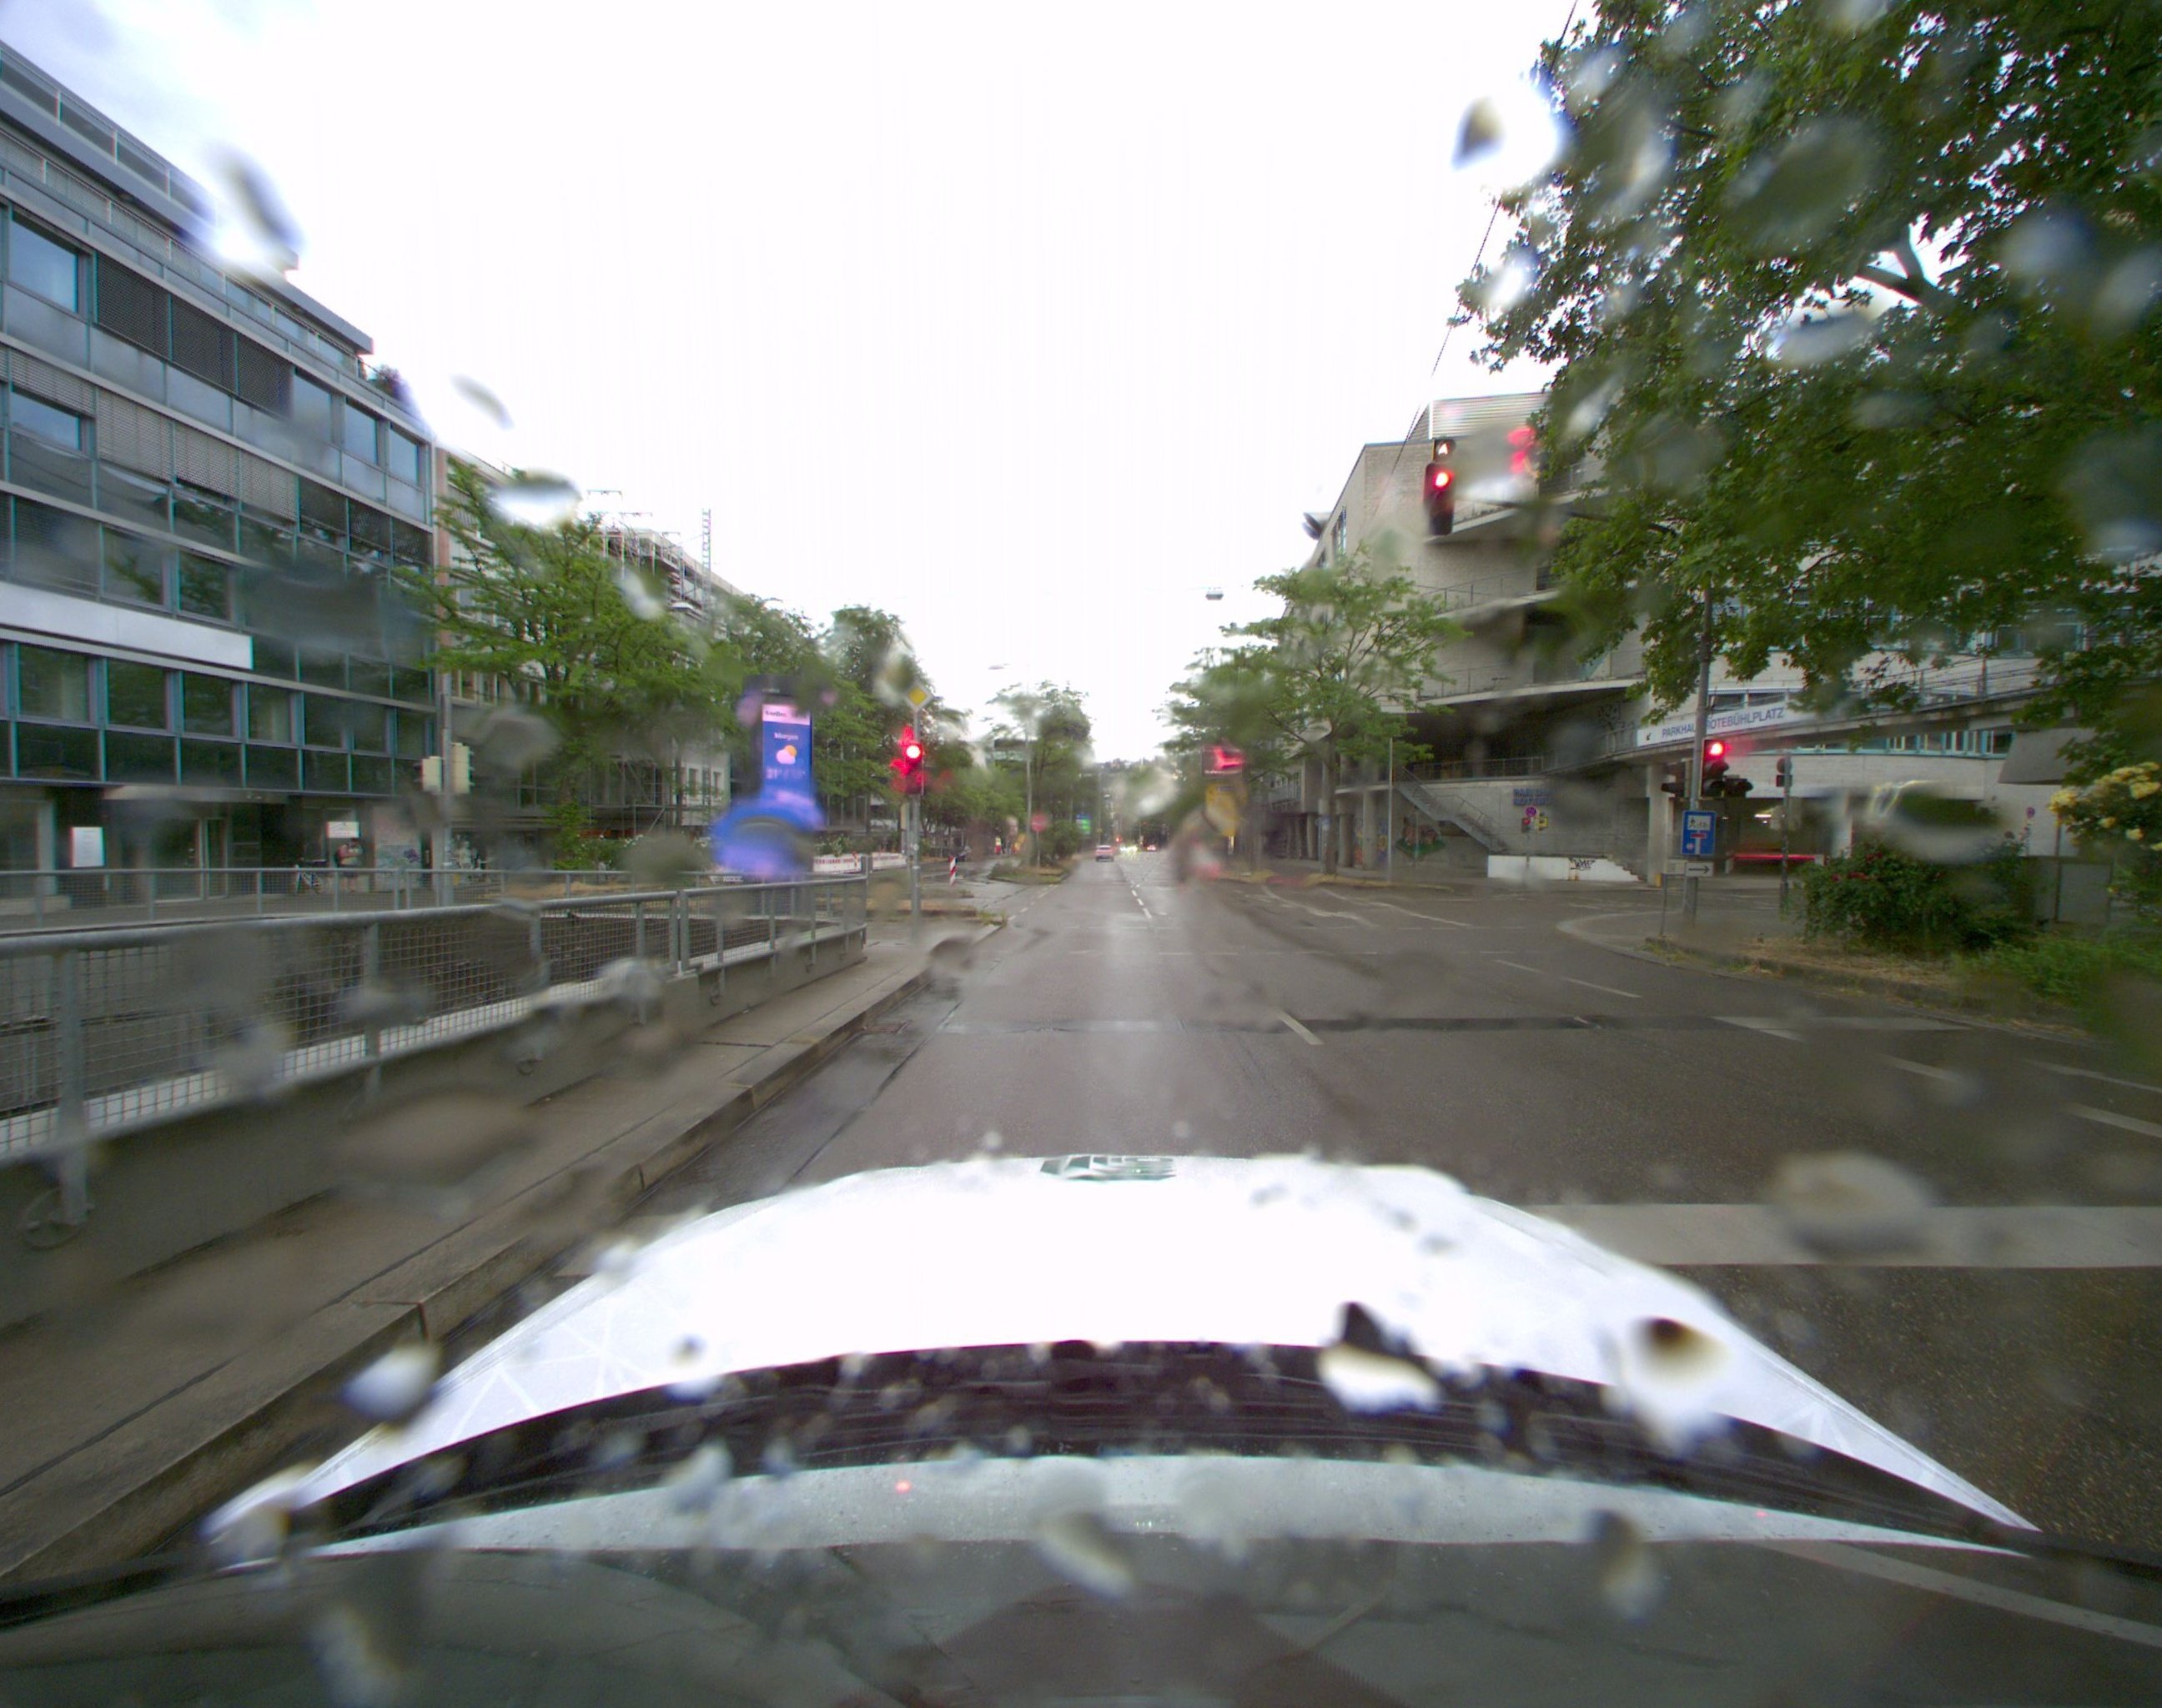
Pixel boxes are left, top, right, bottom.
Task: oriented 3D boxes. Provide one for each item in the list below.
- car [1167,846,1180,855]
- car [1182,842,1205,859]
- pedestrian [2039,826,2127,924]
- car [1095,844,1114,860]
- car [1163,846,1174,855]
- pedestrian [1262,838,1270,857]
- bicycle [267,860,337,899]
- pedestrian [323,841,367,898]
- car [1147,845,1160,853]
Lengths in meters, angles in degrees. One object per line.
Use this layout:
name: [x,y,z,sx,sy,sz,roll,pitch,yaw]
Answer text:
car: [17.630,-0.655,155.125,1.986,1.723,4.001,0,-1,1]
car: [11.537,-0.353,83.340,2.324,1.691,4.010,0,0,9]
pedestrian: [20.089,0.410,16.342,0.843,1.910,0.758,0,0,1]
car: [2.423,-0.194,83.985,1.823,1.640,4.300,1,0,0]
car: [17.868,-0.670,166.636,1.986,1.736,4.001,0,-1,2]
pedestrian: [18.704,-0.687,82.399,0.770,1.920,0.705,-1,-1,11]
bicycle: [-22.957,0.746,24.035,0.444,1.085,1.567,0,0,6]
pedestrian: [-22.811,0.482,25.236,0.694,1.741,0.694,1,0,-4]
car: [18.307,-1.289,204.837,1.975,1.758,4.023,1,0,25]
